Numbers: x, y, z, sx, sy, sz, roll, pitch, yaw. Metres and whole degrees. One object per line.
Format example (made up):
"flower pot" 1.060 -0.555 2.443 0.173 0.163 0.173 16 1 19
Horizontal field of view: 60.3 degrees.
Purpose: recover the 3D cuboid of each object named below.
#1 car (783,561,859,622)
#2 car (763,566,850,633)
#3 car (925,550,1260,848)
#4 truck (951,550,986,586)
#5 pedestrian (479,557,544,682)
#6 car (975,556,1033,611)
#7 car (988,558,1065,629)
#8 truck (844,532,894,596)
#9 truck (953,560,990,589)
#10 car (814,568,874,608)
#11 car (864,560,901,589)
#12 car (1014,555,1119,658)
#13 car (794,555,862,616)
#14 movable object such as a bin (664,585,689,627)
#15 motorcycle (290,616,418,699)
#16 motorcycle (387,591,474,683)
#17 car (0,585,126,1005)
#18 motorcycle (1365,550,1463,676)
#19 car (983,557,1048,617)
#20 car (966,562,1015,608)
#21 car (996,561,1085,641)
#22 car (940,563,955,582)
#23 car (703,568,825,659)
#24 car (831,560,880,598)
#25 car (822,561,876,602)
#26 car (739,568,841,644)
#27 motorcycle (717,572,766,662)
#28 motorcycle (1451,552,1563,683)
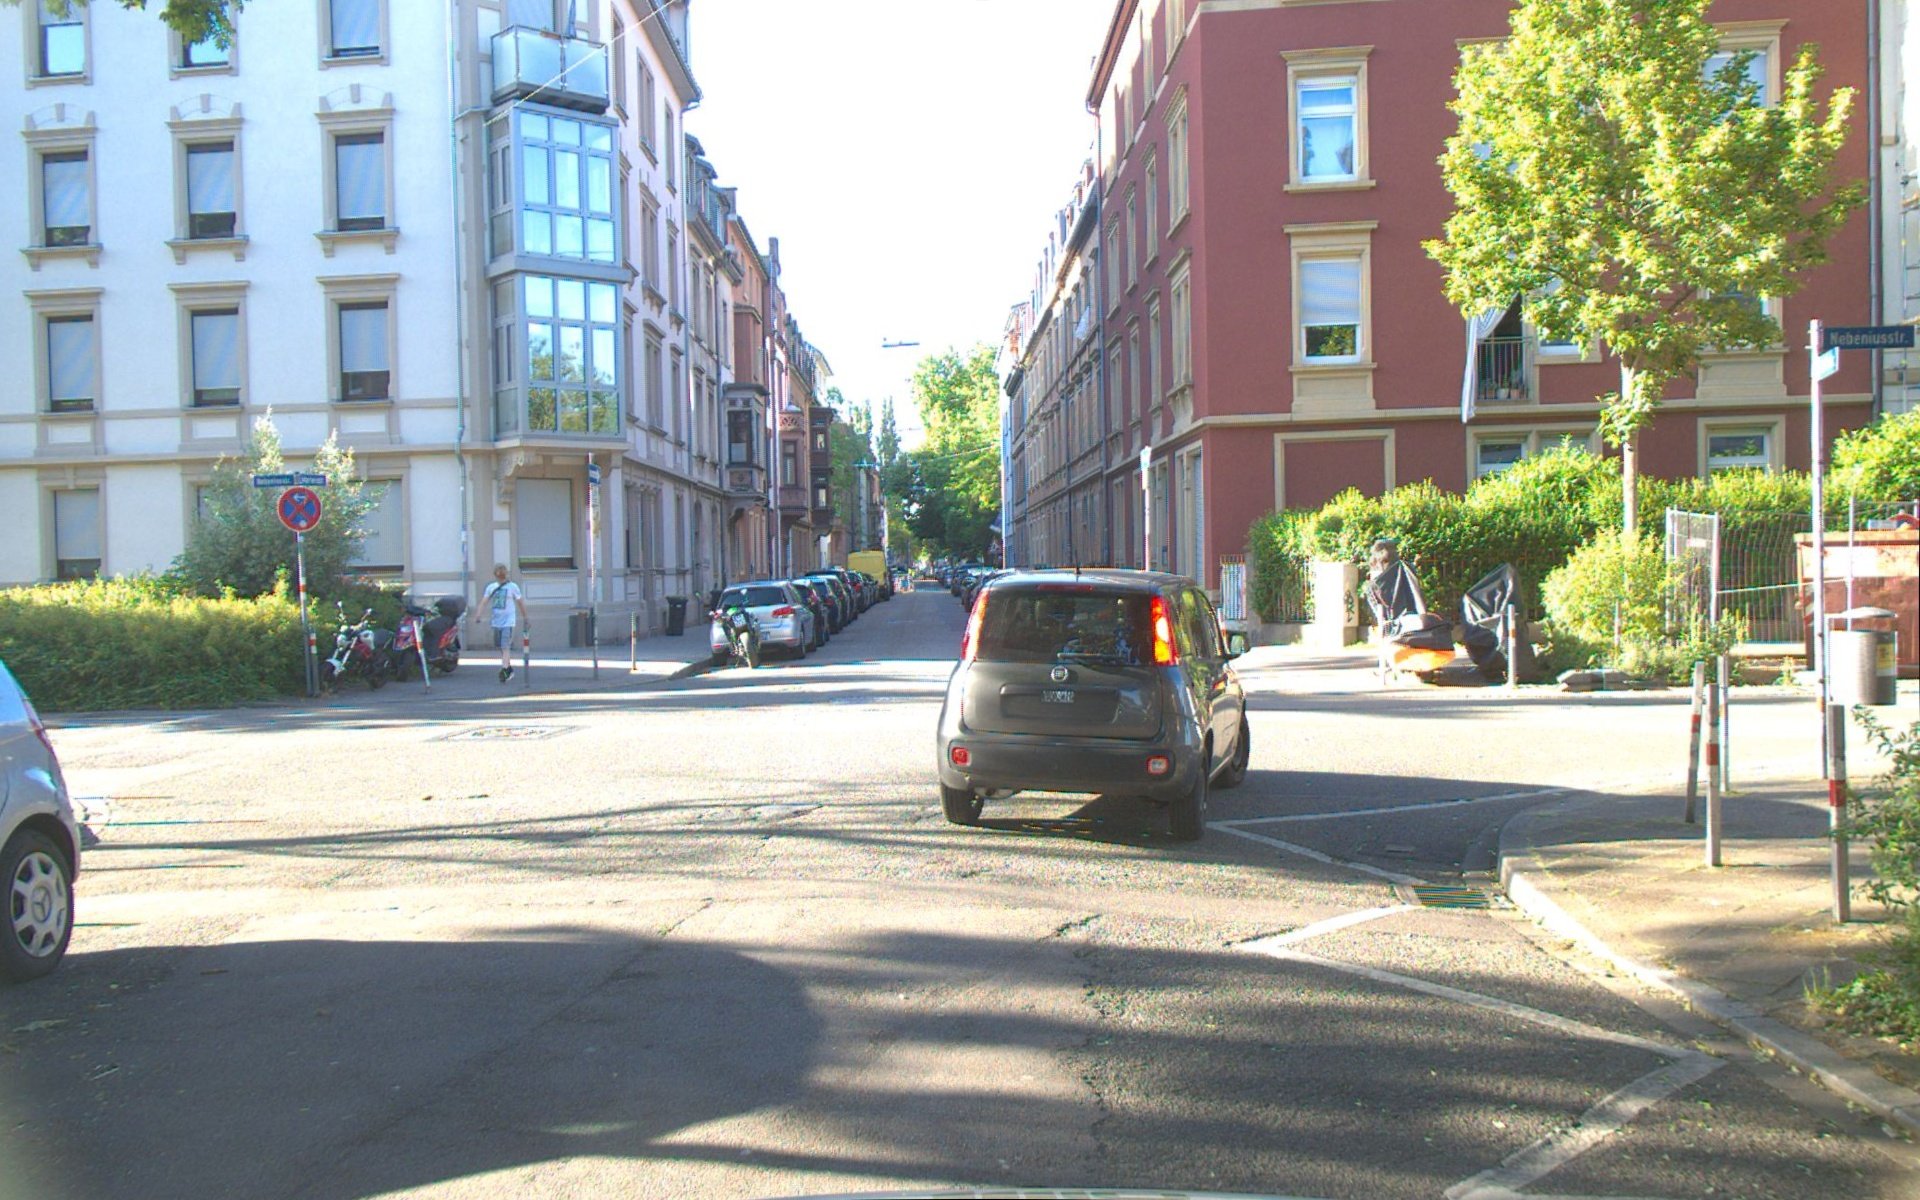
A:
"car" -4.018 -0.282 48.363 1.792 1.504 3.925 -5 2 0
"car" -3.965 -0.048 43.264 1.788 1.492 3.925 -5 2 0
"car" 0.998 0.487 10.772 1.598 1.577 3.267 1 2 15
"truck" 0.498 -1.918 98.357 1.953 2.026 4.000 -2 2 -1
"pedestrian" -6.793 0.284 25.067 0.707 1.871 0.627 -1 1 10
"car" 1.285 -0.521 49.690 1.629 1.559 3.757 -1 2 0
"car" 1.522 -0.189 38.705 1.629 1.531 3.757 -1 2 0
"truck" -4.602 -1.836 84.544 2.029 2.975 5.068 -6 1 0
"truck" 0.643 -1.457 92.986 1.953 1.482 4.000 -2 2 -1
"car" -4.369 -0.487 62.804 1.922 1.245 3.925 -5 2 0
"car" -4.644 -1.545 99.819 1.922 1.504 3.925 -5 2 0
"car" 1.850 0.062 29.620 1.629 1.698 3.757 -1 2 0
"car" -4.246 -0.495 53.514 1.739 1.727 3.925 -5 2 0
"movable object such as a bin" -6.818 0.140 39.793 0.501 0.969 0.501 -2 1 -4
"motorcycle" -8.424 0.779 23.066 0.675 1.002 1.822 3 3 19
"motorcycle" -8.116 0.547 25.423 0.507 1.316 1.613 0 2 13
"car" -4.496 0.848 5.251 1.663 1.577 3.918 -5 2 -2
"motorcycle" 5.779 0.130 21.173 0.998 1.428 2.195 -2 4 11
"car" 1.485 -0.378 45.106 1.629 1.531 3.757 -1 2 0
"car" 1.053 -0.568 58.775 1.629 1.531 3.757 -1 2 0
"car" 1.612 -0.028 34.109 1.629 1.531 3.757 -1 2 0
"car" -1.176 -2.583 153.519 1.340 1.646 3.414 -2 2 0
"car" -3.718 0.207 31.967 1.761 1.456 3.925 -5 2 0
"car" -4.861 -1.005 77.452 1.922 1.504 3.925 -5 2 0
"car" -4.681 -0.808 70.448 1.922 1.504 3.925 -5 2 0
"car" -3.748 0.087 37.053 1.741 1.437 3.925 -5 2 0
"motorcycle" -3.800 0.271 28.668 0.684 1.486 1.747 -3 1 -10
"motorcycle" 6.755 0.168 20.545 0.809 1.428 2.559 -2 3 7
